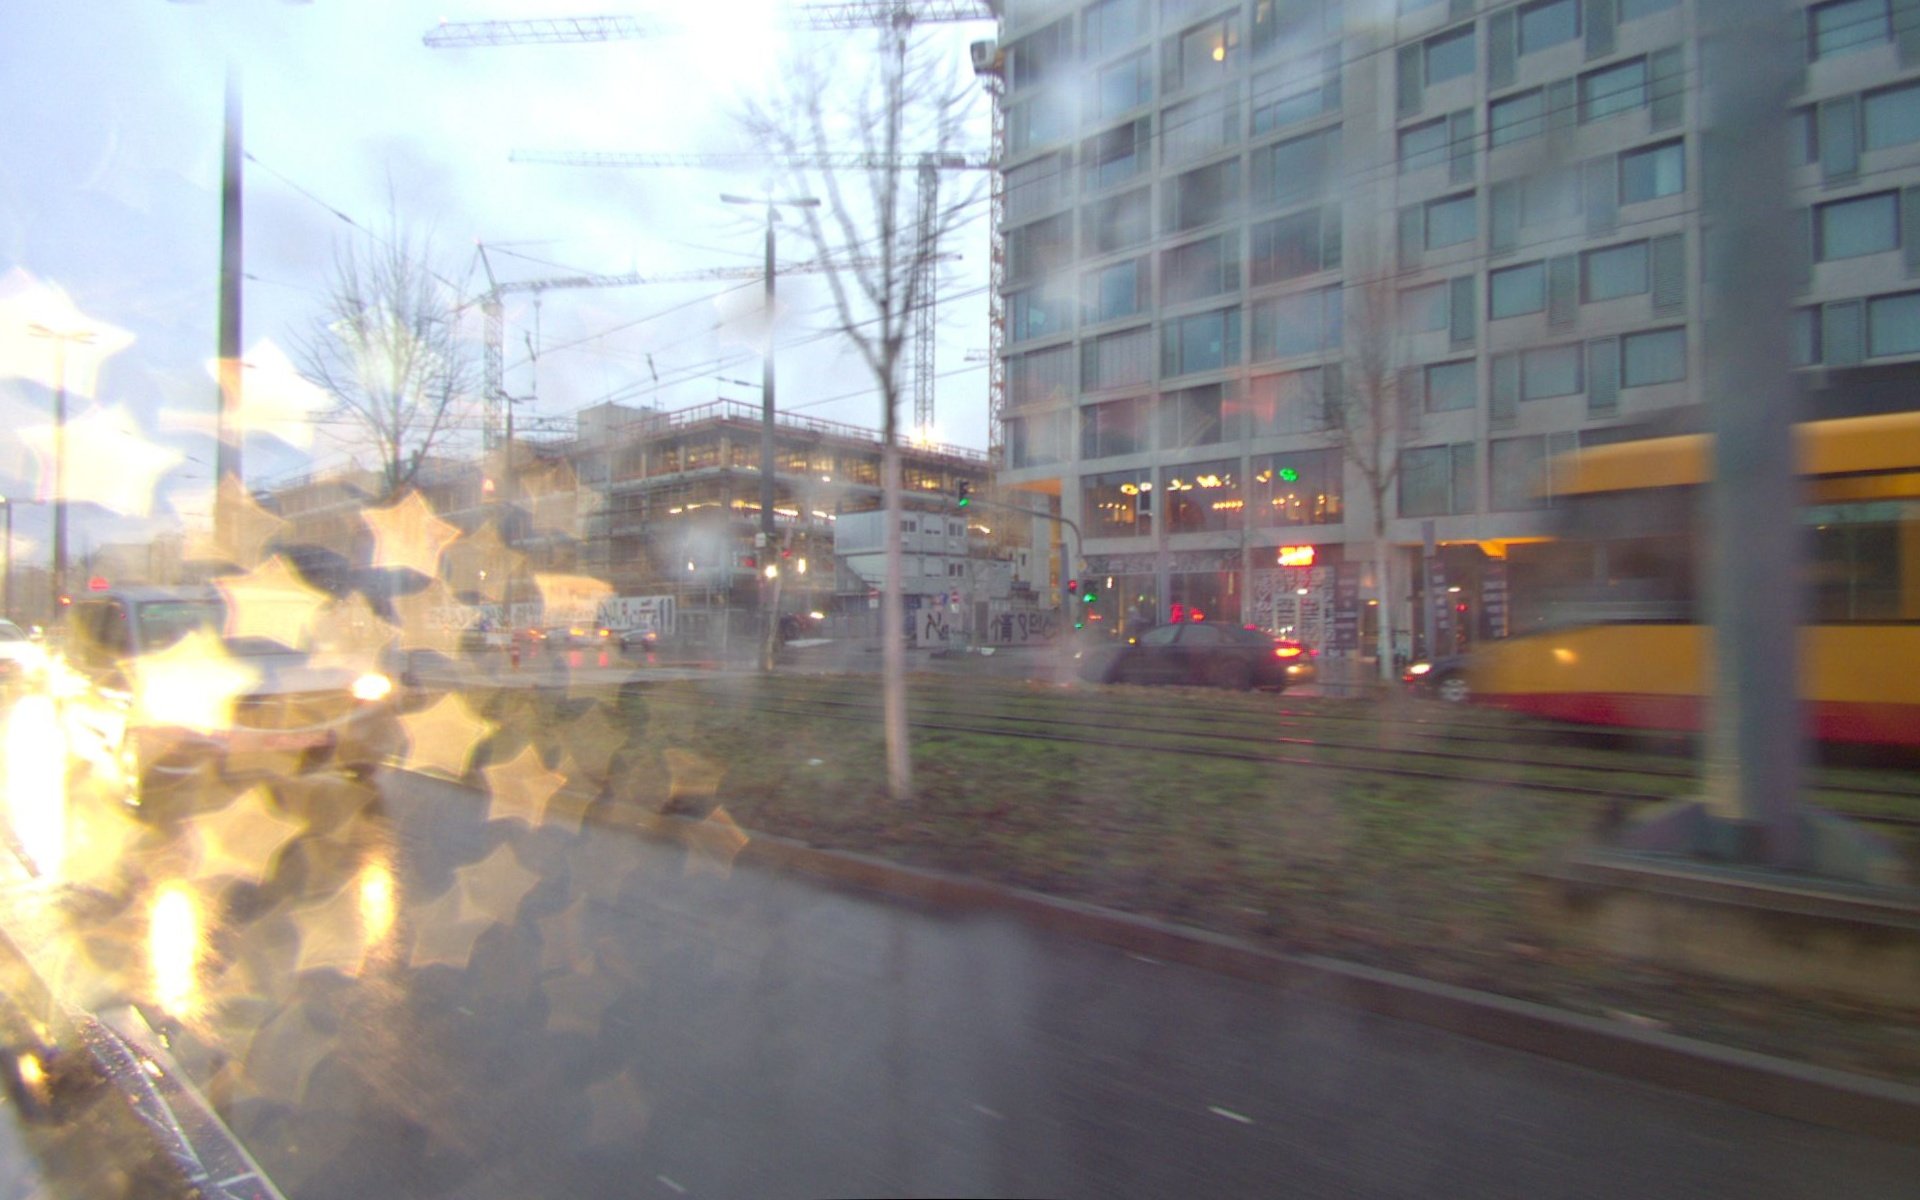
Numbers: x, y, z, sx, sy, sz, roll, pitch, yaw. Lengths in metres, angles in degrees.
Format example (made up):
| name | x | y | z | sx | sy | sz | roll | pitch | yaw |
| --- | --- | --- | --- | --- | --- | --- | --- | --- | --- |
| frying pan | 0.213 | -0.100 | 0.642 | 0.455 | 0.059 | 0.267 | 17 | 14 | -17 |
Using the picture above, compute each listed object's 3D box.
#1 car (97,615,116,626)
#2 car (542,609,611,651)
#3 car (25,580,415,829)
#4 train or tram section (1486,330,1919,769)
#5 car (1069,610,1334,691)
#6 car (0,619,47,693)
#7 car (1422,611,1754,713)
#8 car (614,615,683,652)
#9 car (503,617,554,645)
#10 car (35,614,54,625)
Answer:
| name | x | y | z | sx | sy | sz | roll | pitch | yaw |
| --- | --- | --- | --- | --- | --- | --- | --- | --- | --- |
| car | -138.198 | 3.309 | 163.836 | 4.002 | 1.837 | 1.971 | -1 | -2 | 45 |
| car | -19.384 | 1.494 | 51.107 | 1.969 | 2.029 | 4.005 | 1 | -2 | -42 |
| car | -6.898 | 0.749 | 9.240 | 4.532 | 1.749 | 1.776 | -1 | 0 | 39 |
| train or tram section | 11.637 | -0.451 | 6.570 | 14.311 | 3.513 | 2.926 | -1 | -2 | 41 |
| car | 4.875 | 0.990 | 20.977 | 5.033 | 1.479 | 1.972 | -1 | -2 | 42 |
| car | -20.444 | 1.117 | 20.822 | 4.610 | 1.416 | 1.828 | -1 | 0 | 40 |
| car | 10.125 | 0.960 | 16.792 | 4.426 | 1.508 | 1.982 | -1 | -1 | 26 |
| car | -16.232 | 1.727 | 52.641 | 1.969 | 1.863 | 4.005 | 1 | -2 | -42 |
| car | -28.548 | 2.035 | 66.921 | 1.884 | 1.756 | 4.005 | 1 | -2 | -42 |
| car | -161.673 | 3.453 | 178.695 | 3.999 | 2.029 | 1.972 | -1 | -2 | 42 |
